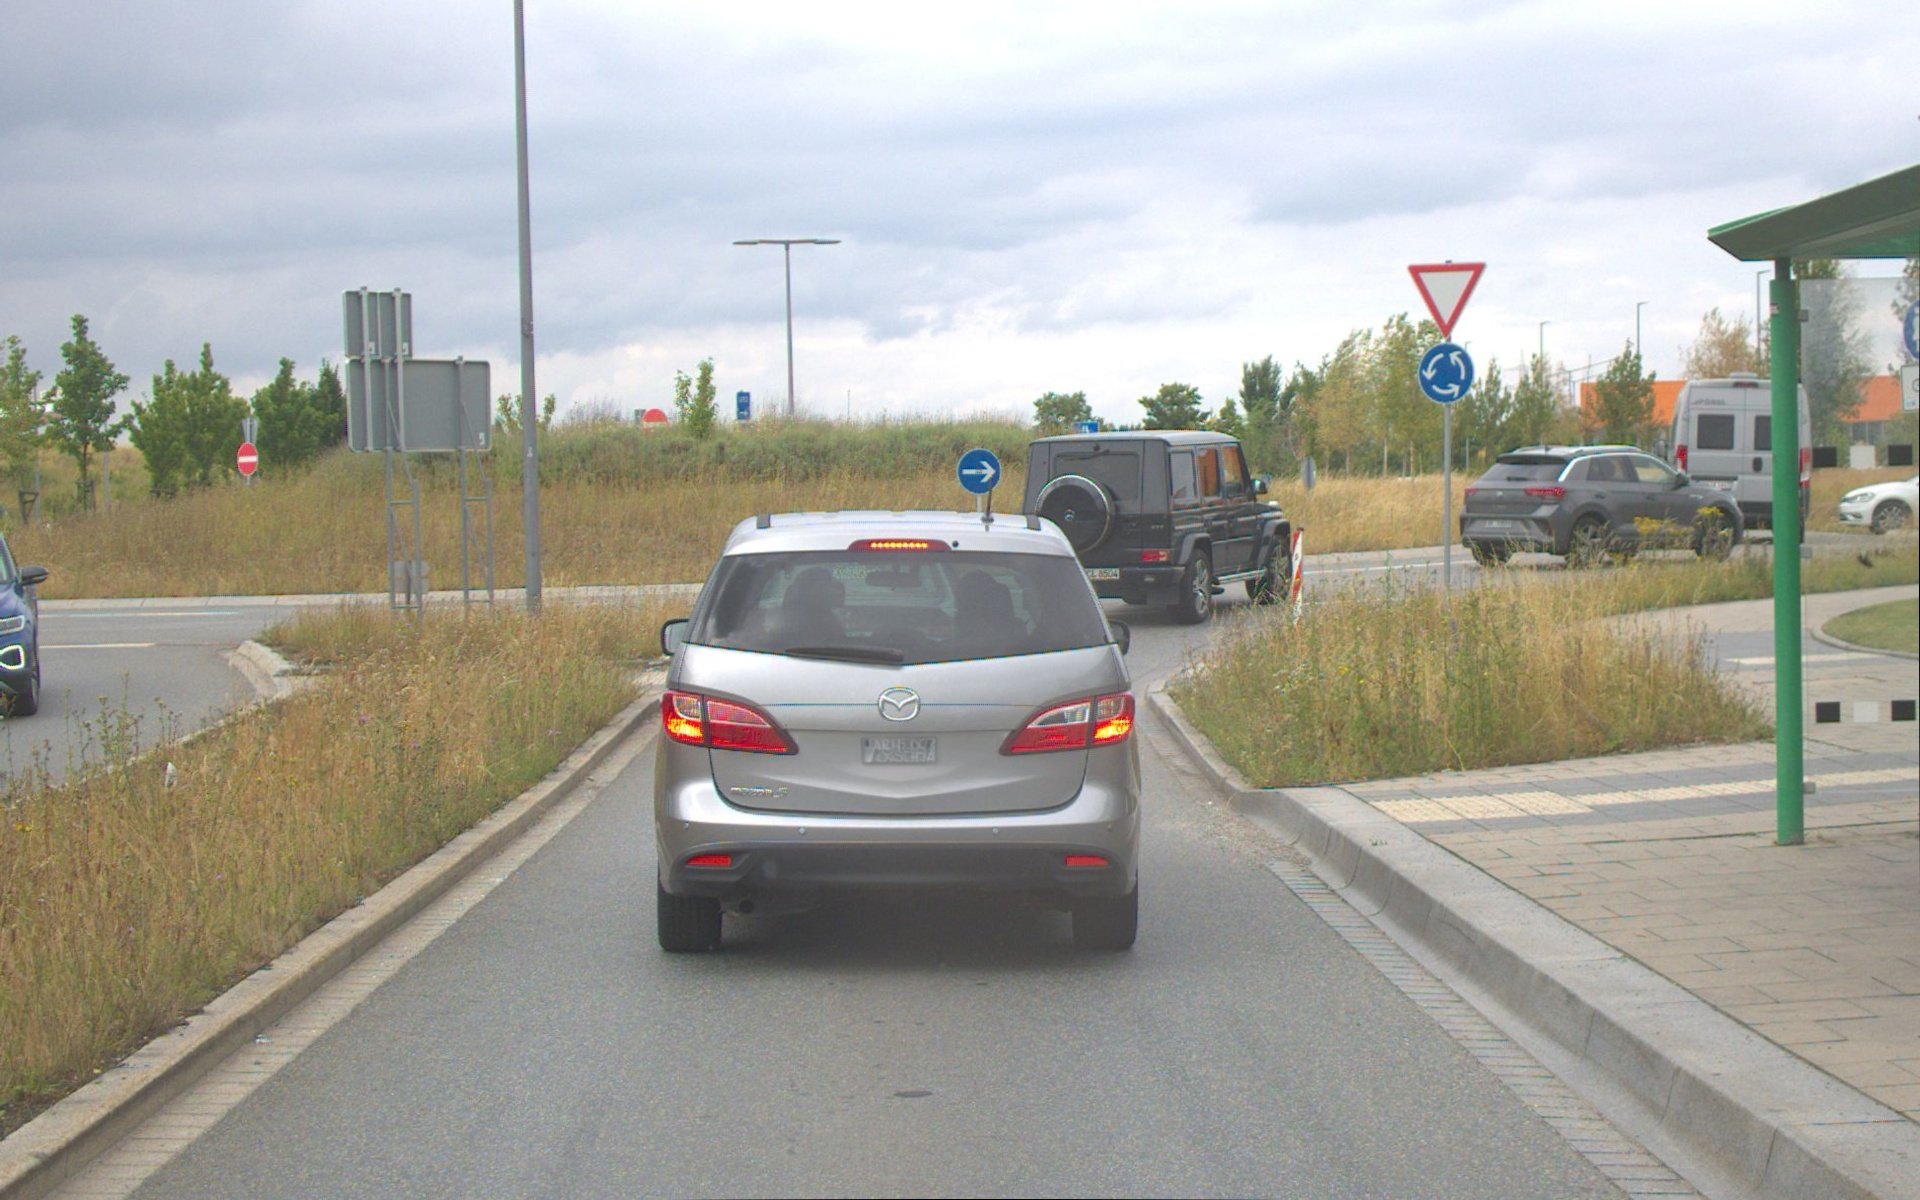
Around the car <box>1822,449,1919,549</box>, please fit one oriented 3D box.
[{"bbox_3d":[17.807,-1.808,61.254,4.604,1.751,1.999,0,1,10],"label":"car"}]

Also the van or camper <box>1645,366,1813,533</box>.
[{"bbox_3d":[12.082,-2.337,54.309,2.303,2.497,5.204,0,2,9],"label":"van or camper"}]

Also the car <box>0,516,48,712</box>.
[{"bbox_3d":[-8.651,0.129,28.852,1.841,1.523,4.229,-3,1,-15],"label":"car"}]

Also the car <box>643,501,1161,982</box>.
[{"bbox_3d":[-0.249,0.421,13.403,1.729,1.594,3.807,0,2,-2],"label":"car"}]

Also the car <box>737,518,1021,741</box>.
[{"bbox_3d":[-0.500,0.145,24.918,1.845,1.413,4.225,-1,2,1],"label":"car"}]

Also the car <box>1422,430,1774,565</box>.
[{"bbox_3d":[8.301,-1.342,44.649,4.191,1.587,2.065,-3,3,-33],"label":"car"}]

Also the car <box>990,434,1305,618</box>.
[{"bbox_3d":[2.089,-0.793,36.674,2.060,1.819,4.781,0,1,20],"label":"car"}]

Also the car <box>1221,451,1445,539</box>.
[{"bbox_3d":[6.693,-1.880,62.046,1.993,1.510,4.000,-2,2,-31],"label":"car"}]
